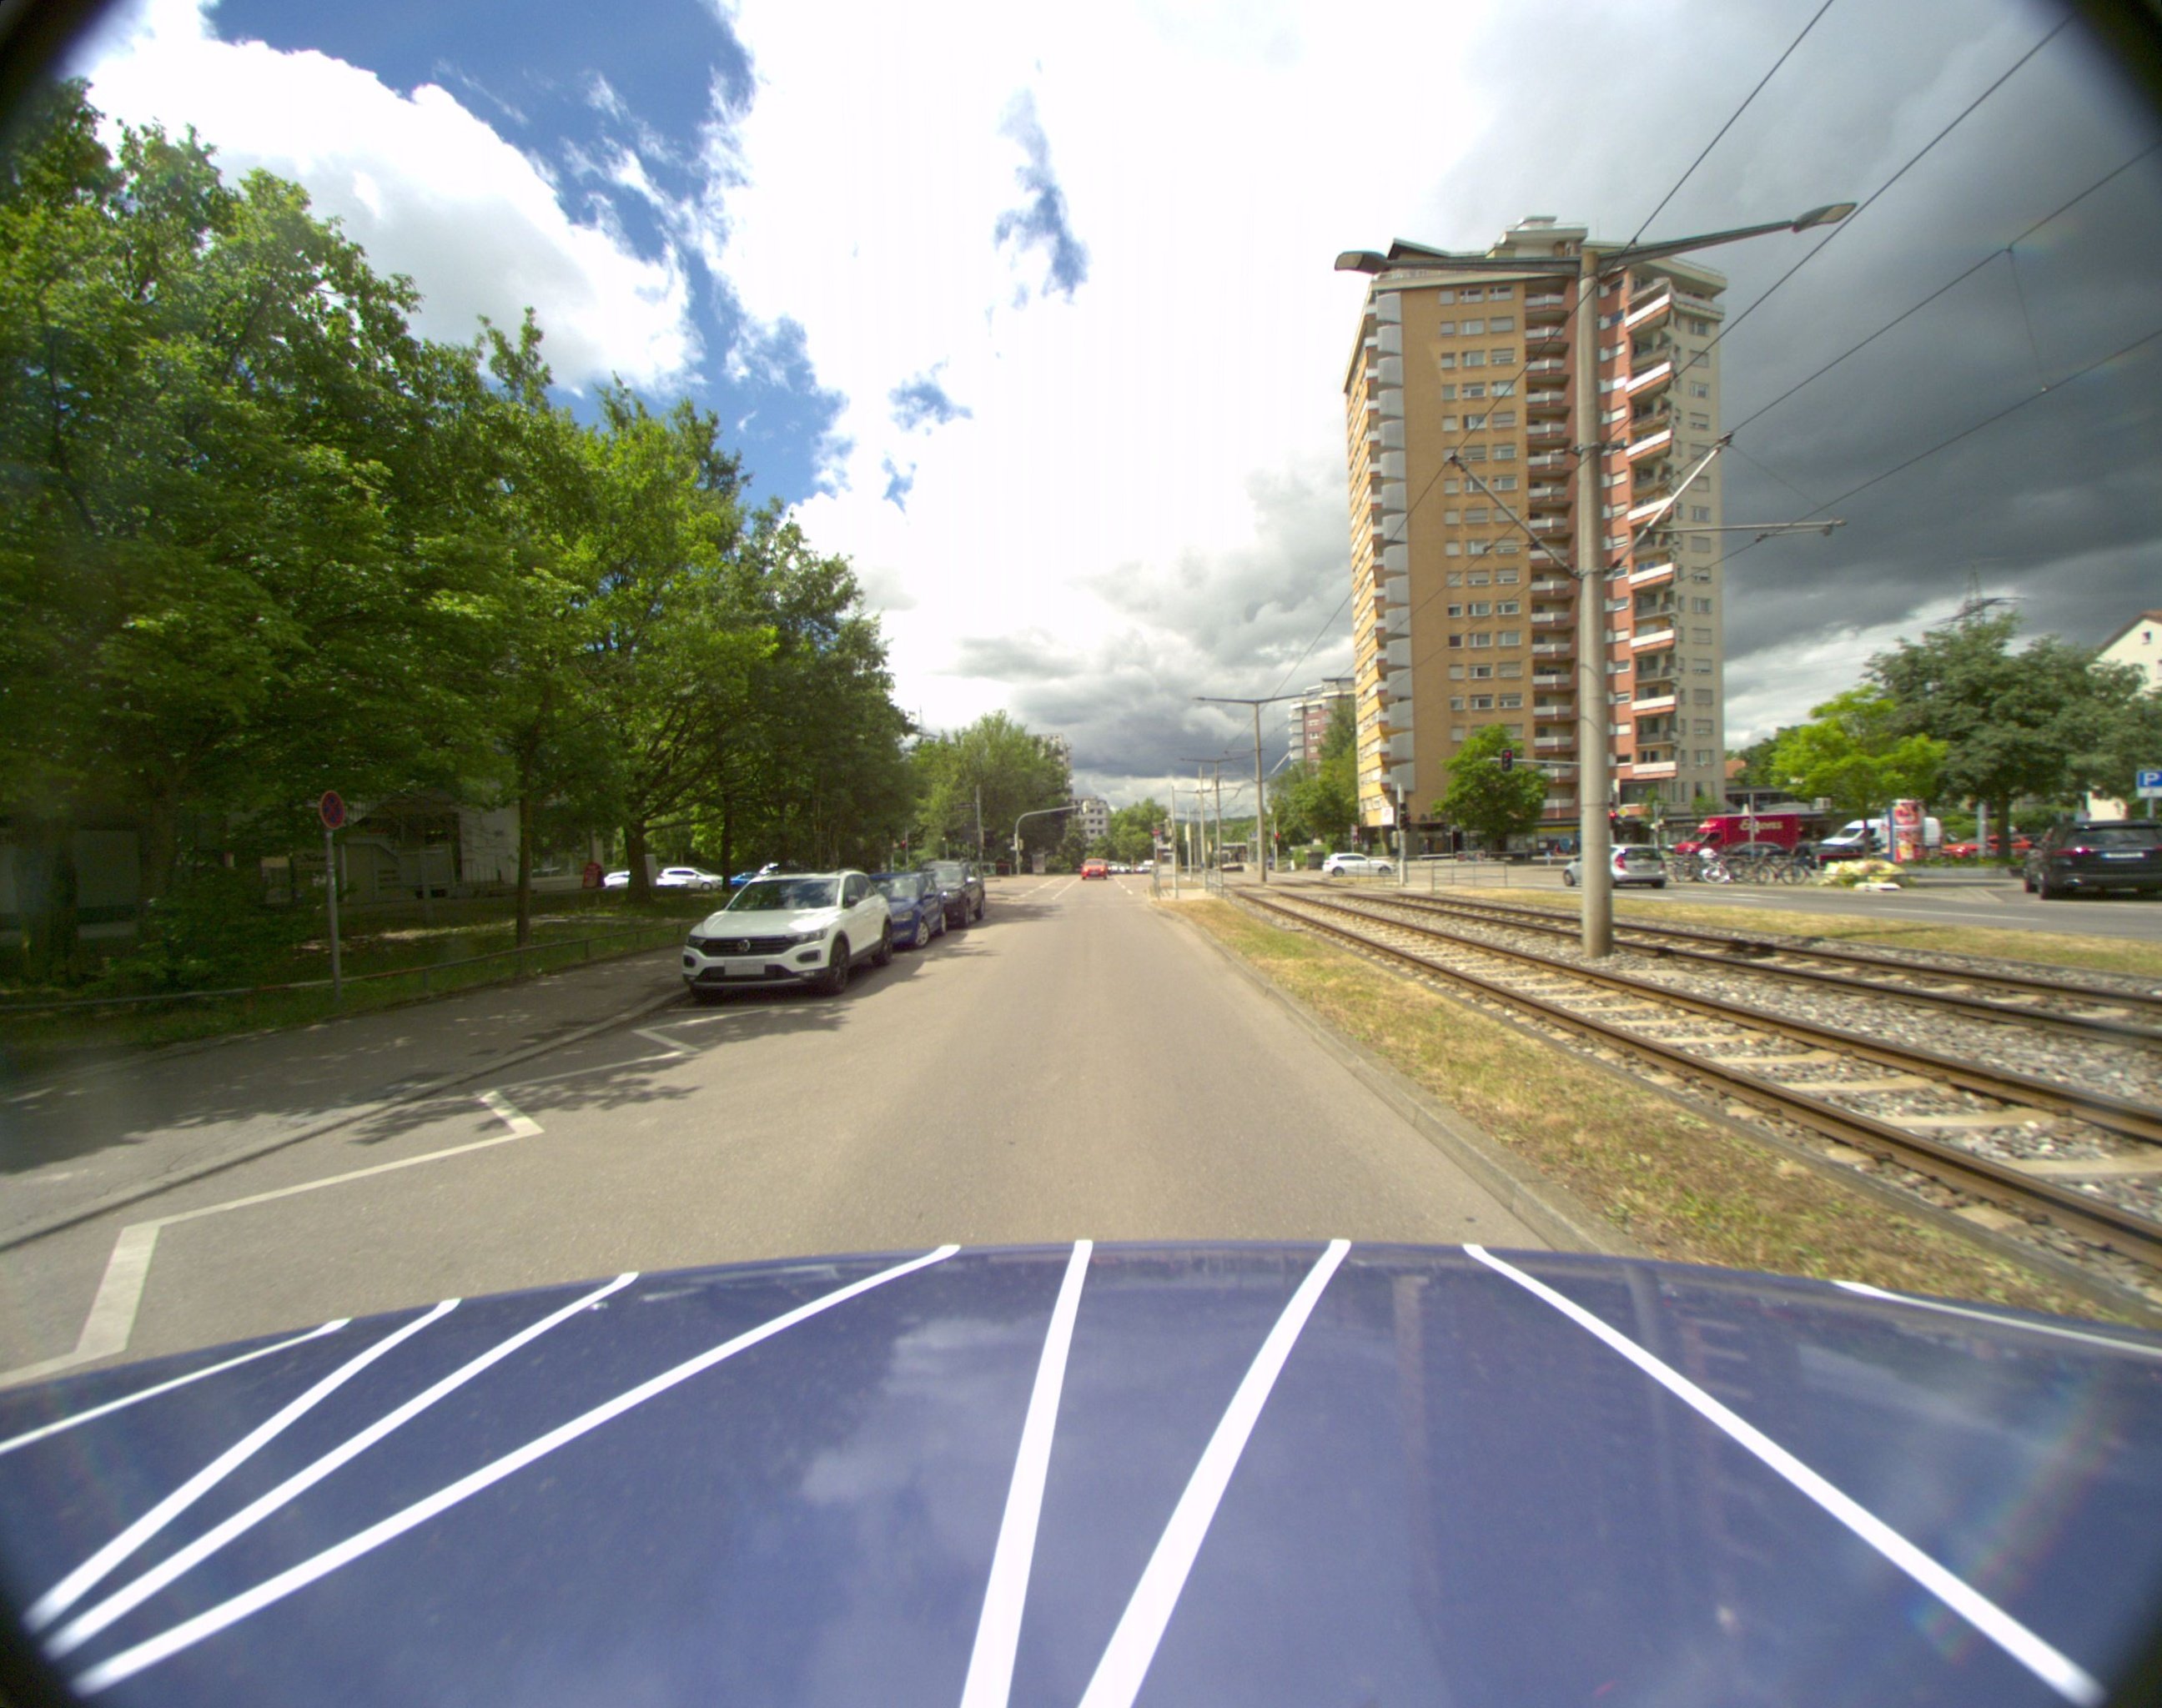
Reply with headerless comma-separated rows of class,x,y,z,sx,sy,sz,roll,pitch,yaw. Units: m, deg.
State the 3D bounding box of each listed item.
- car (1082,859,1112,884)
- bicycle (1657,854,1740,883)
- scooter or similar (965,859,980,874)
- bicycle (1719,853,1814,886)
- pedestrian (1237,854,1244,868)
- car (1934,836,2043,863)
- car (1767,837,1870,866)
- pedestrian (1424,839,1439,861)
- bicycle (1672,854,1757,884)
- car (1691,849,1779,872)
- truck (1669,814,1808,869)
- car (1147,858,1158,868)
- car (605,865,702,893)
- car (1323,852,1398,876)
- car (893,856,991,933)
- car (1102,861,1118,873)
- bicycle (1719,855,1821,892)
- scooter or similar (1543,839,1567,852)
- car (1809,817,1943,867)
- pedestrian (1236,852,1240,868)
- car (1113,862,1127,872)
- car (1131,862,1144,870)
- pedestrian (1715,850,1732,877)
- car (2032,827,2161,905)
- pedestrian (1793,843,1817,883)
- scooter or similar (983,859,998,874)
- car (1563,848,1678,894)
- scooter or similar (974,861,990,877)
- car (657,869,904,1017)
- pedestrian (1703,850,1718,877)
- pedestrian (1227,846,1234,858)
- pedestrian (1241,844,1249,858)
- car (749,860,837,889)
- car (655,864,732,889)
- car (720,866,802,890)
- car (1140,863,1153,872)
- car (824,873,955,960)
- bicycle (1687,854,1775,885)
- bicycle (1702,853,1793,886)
car,1.148,1.172,51.868,1.819,1.483,4.000,-3,0,3
bicycle,23.170,0.545,28.548,2.432,1.060,0.705,-1,0,4
scooter or similar,-8.743,0.994,61.326,1.185,1.228,0.479,-1,0,-8
bicycle,22.925,0.524,25.430,2.432,1.060,0.705,-1,0,4
pedestrian,20.956,0.916,99.780,0.770,1.920,0.573,-1,0,3
car,56.612,-0.280,47.475,3.993,1.592,2.002,-1,0,13
car,42.850,-0.141,44.160,4.675,1.390,1.976,-3,0,-12
pedestrian,30.590,-0.326,66.381,0.920,1.923,0.854,-1,0,5
bicycle,23.105,0.540,27.751,2.432,1.060,0.705,-1,0,4
car,43.696,0.438,50.857,3.993,1.485,2.002,-1,0,11
truck,46.368,-0.839,53.784,7.089,3.653,2.549,-1,0,10
car,14.623,1.814,155.863,1.998,2.135,4.001,-1,0,2
car,-24.642,1.451,43.907,4.402,1.407,1.950,-1,2,-4
car,17.315,0.636,47.251,4.266,1.442,1.797,-1,0,18
car,-3.504,0.962,19.962,1.648,1.752,4.570,-1,0,1
car,3.140,1.431,82.348,1.605,1.207,3.773,-1,0,5
bicycle,21.847,0.608,24.127,2.432,1.028,0.717,-3,0,4
scooter or similar,41.609,-0.753,66.691,1.751,1.087,0.545,-1,0,1
car,54.258,-0.787,51.981,6.294,3.280,2.002,-1,0,12
pedestrian,21.544,0.844,104.259,0.532,2.129,0.608,-1,0,9
car,4.916,1.645,95.667,1.605,1.207,3.773,-1,0,7
car,9.573,2.031,129.289,1.844,1.409,4.003,-1,0,9
pedestrian,34.438,0.507,40.737,0.571,1.463,0.527,-1,0,30
car,23.221,0.234,17.110,4.008,1.582,1.927,-1,0,-43
pedestrian,29.538,0.374,30.995,0.417,1.633,0.601,-1,0,2
scooter or similar,-7.387,1.000,62.053,1.170,1.188,0.449,-1,0,9
car,19.359,0.592,27.485,1.822,1.523,3.757,-1,0,7
scooter or similar,-8.681,1.317,66.545,1.212,1.284,0.534,-4,-2,-29
car,-3.859,1.035,10.719,1.788,1.556,4.569,-1,0,-2
pedestrian,33.716,0.512,40.713,0.517,1.463,0.527,-1,0,30
pedestrian,19.794,-0.225,100.433,0.865,1.596,0.748,-1,0,5
pedestrian,20.056,-0.380,92.878,0.865,1.763,0.748,-1,0,5
car,-17.605,1.245,46.655,4.654,1.583,1.922,-1,2,-3
car,-24.024,1.396,47.175,3.897,1.405,1.607,-1,2,-4
car,-18.513,1.396,44.108,3.970,1.218,1.912,-1,2,-3
car,9.246,1.859,106.968,1.805,1.207,4.023,-1,0,4
car,-3.719,1.155,15.468,1.648,1.449,4.076,-1,0,-1
bicycle,23.032,0.535,26.961,2.432,1.060,0.705,-1,0,4
bicycle,22.955,0.530,26.201,2.432,1.060,0.705,-1,0,4
